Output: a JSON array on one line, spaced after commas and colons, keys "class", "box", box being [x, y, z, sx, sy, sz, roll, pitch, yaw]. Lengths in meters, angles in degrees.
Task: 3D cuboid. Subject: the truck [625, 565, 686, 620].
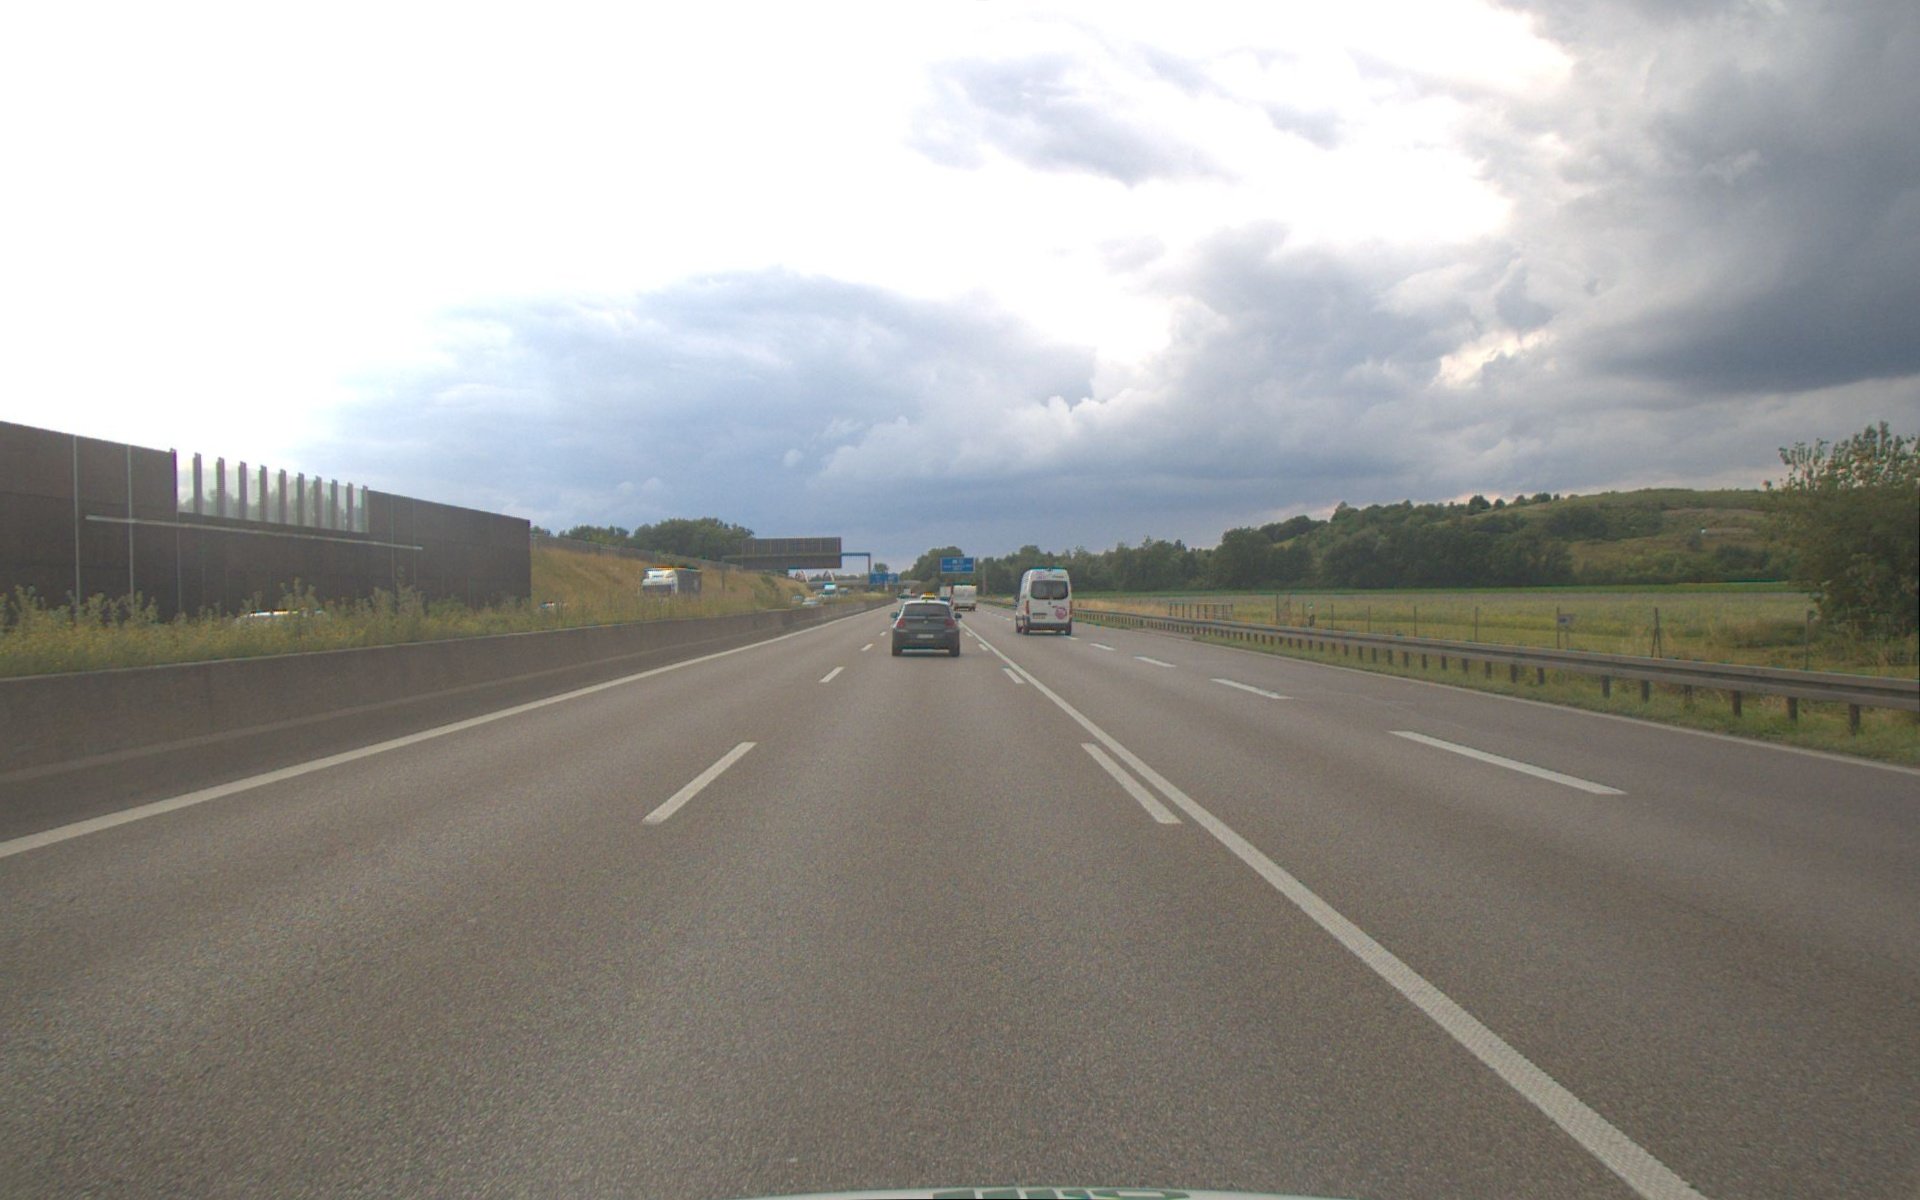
[{"class": "truck", "box": [-23.373, -0.566, 127.223, 3.593, 4.017, 6.012, 1, 0, -1]}]

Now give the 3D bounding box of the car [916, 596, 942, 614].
[{"class": "car", "box": [-2.456, 0.382, 129.668, 1.953, 1.321, 3.999, -1, 0, -2]}]

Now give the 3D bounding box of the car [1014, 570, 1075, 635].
[{"class": "car", "box": [3.519, 0.085, 69.981, 2.176, 2.613, 6.254, 0, 0, -1]}]

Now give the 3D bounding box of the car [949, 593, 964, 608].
[{"class": "car", "box": [-0.529, 0.124, 229.697, 1.953, 2.049, 3.999, 0, 0, -2]}]

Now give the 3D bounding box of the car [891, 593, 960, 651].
[{"class": "car", "box": [-0.911, 0.548, 43.247, 1.708, 1.413, 3.999, 1, 0, -1]}]

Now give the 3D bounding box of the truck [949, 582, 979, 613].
[{"class": "truck", "box": [0.369, -0.289, 171.399, 2.655, 3.016, 12.443, 1, 0, -1]}]
